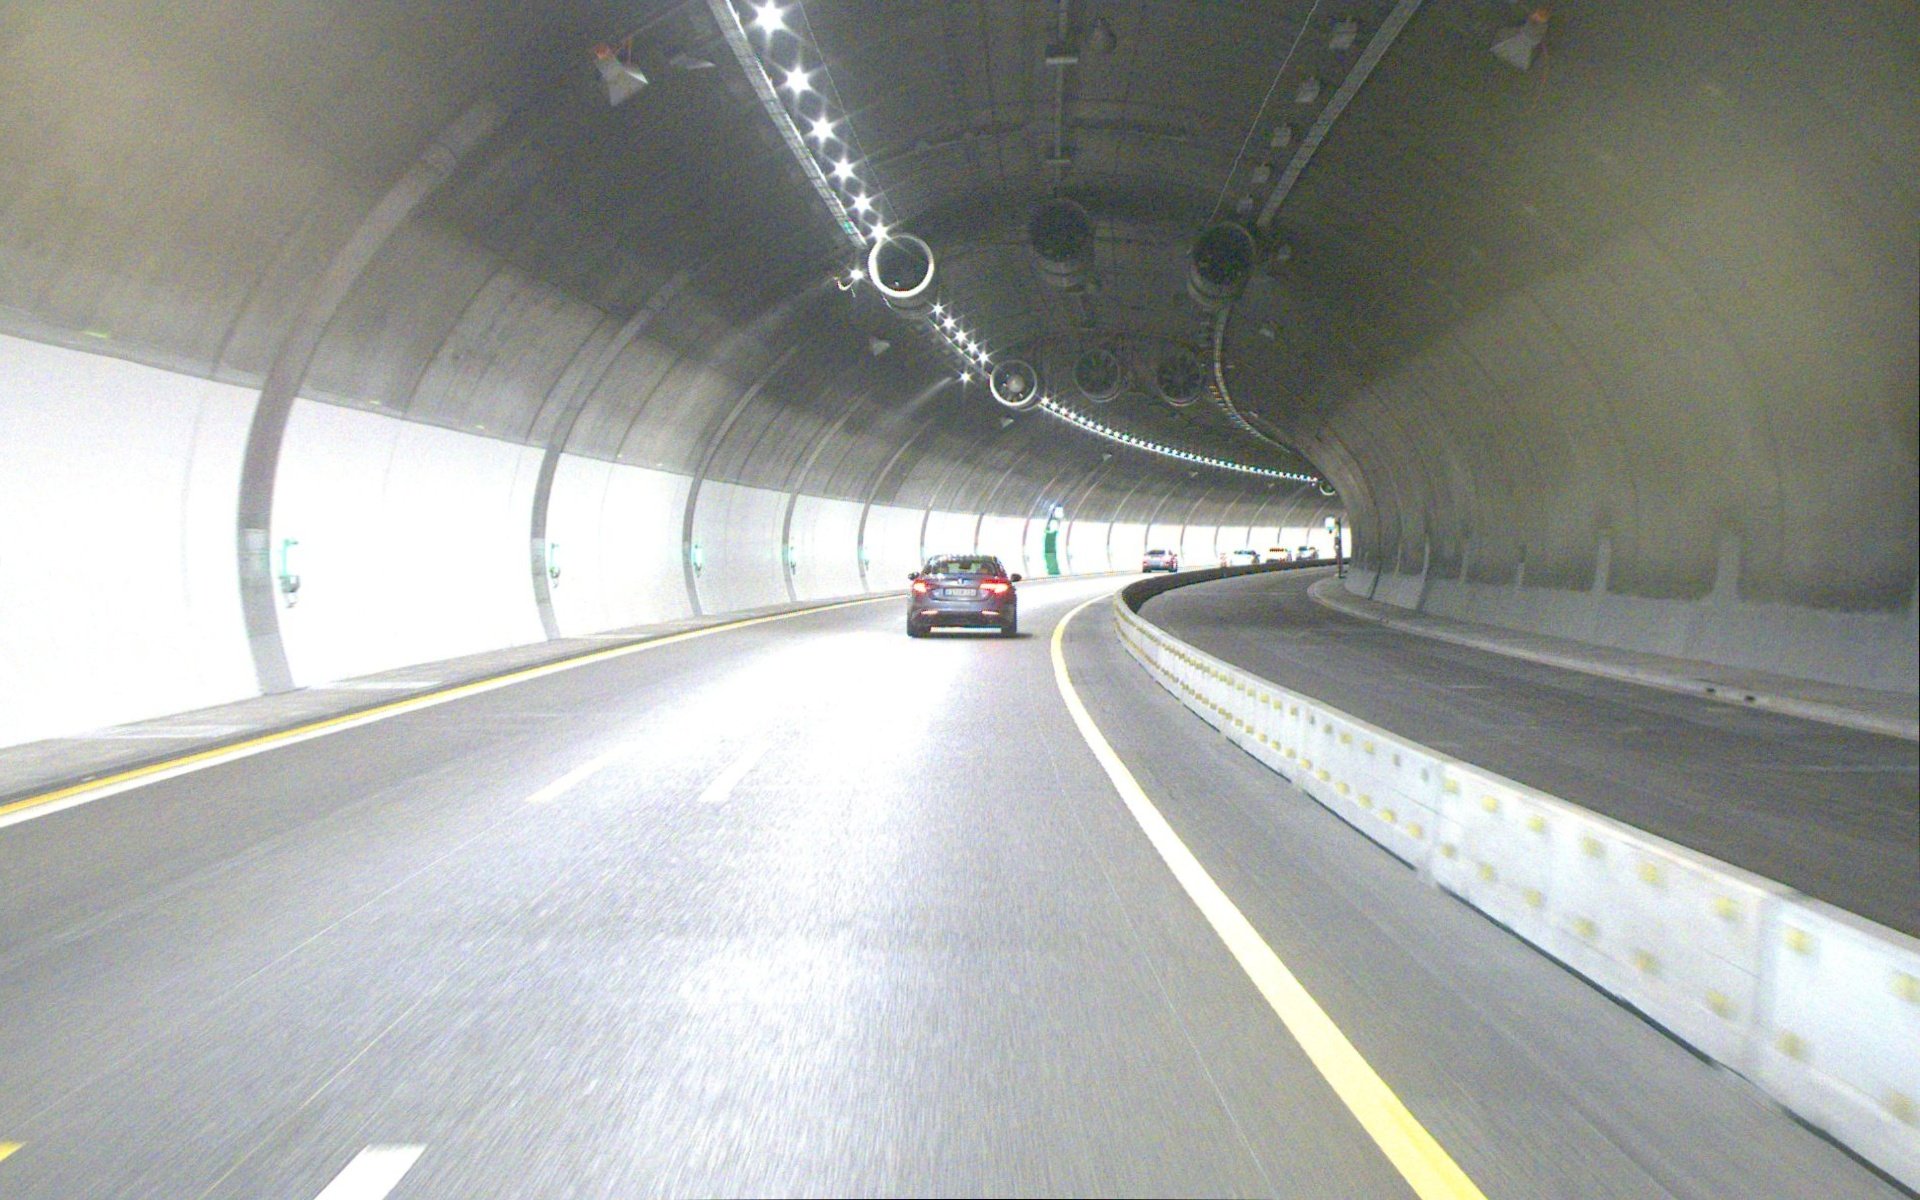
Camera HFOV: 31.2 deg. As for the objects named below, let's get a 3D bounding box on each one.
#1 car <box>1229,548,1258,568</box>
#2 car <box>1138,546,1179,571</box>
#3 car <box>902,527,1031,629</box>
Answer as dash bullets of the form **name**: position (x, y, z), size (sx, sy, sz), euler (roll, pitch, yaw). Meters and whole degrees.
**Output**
- **car**: position (19.170, -2.856, 232.429), size (1.595, 1.328, 3.749), euler (1, 1, 9)
- **car**: position (12.097, -2.557, 209.335), size (2.165, 1.481, 3.999), euler (1, 1, 8)
- **car**: position (0.149, -0.411, 59.906), size (2.141, 1.700, 4.000), euler (0, 1, 1)
